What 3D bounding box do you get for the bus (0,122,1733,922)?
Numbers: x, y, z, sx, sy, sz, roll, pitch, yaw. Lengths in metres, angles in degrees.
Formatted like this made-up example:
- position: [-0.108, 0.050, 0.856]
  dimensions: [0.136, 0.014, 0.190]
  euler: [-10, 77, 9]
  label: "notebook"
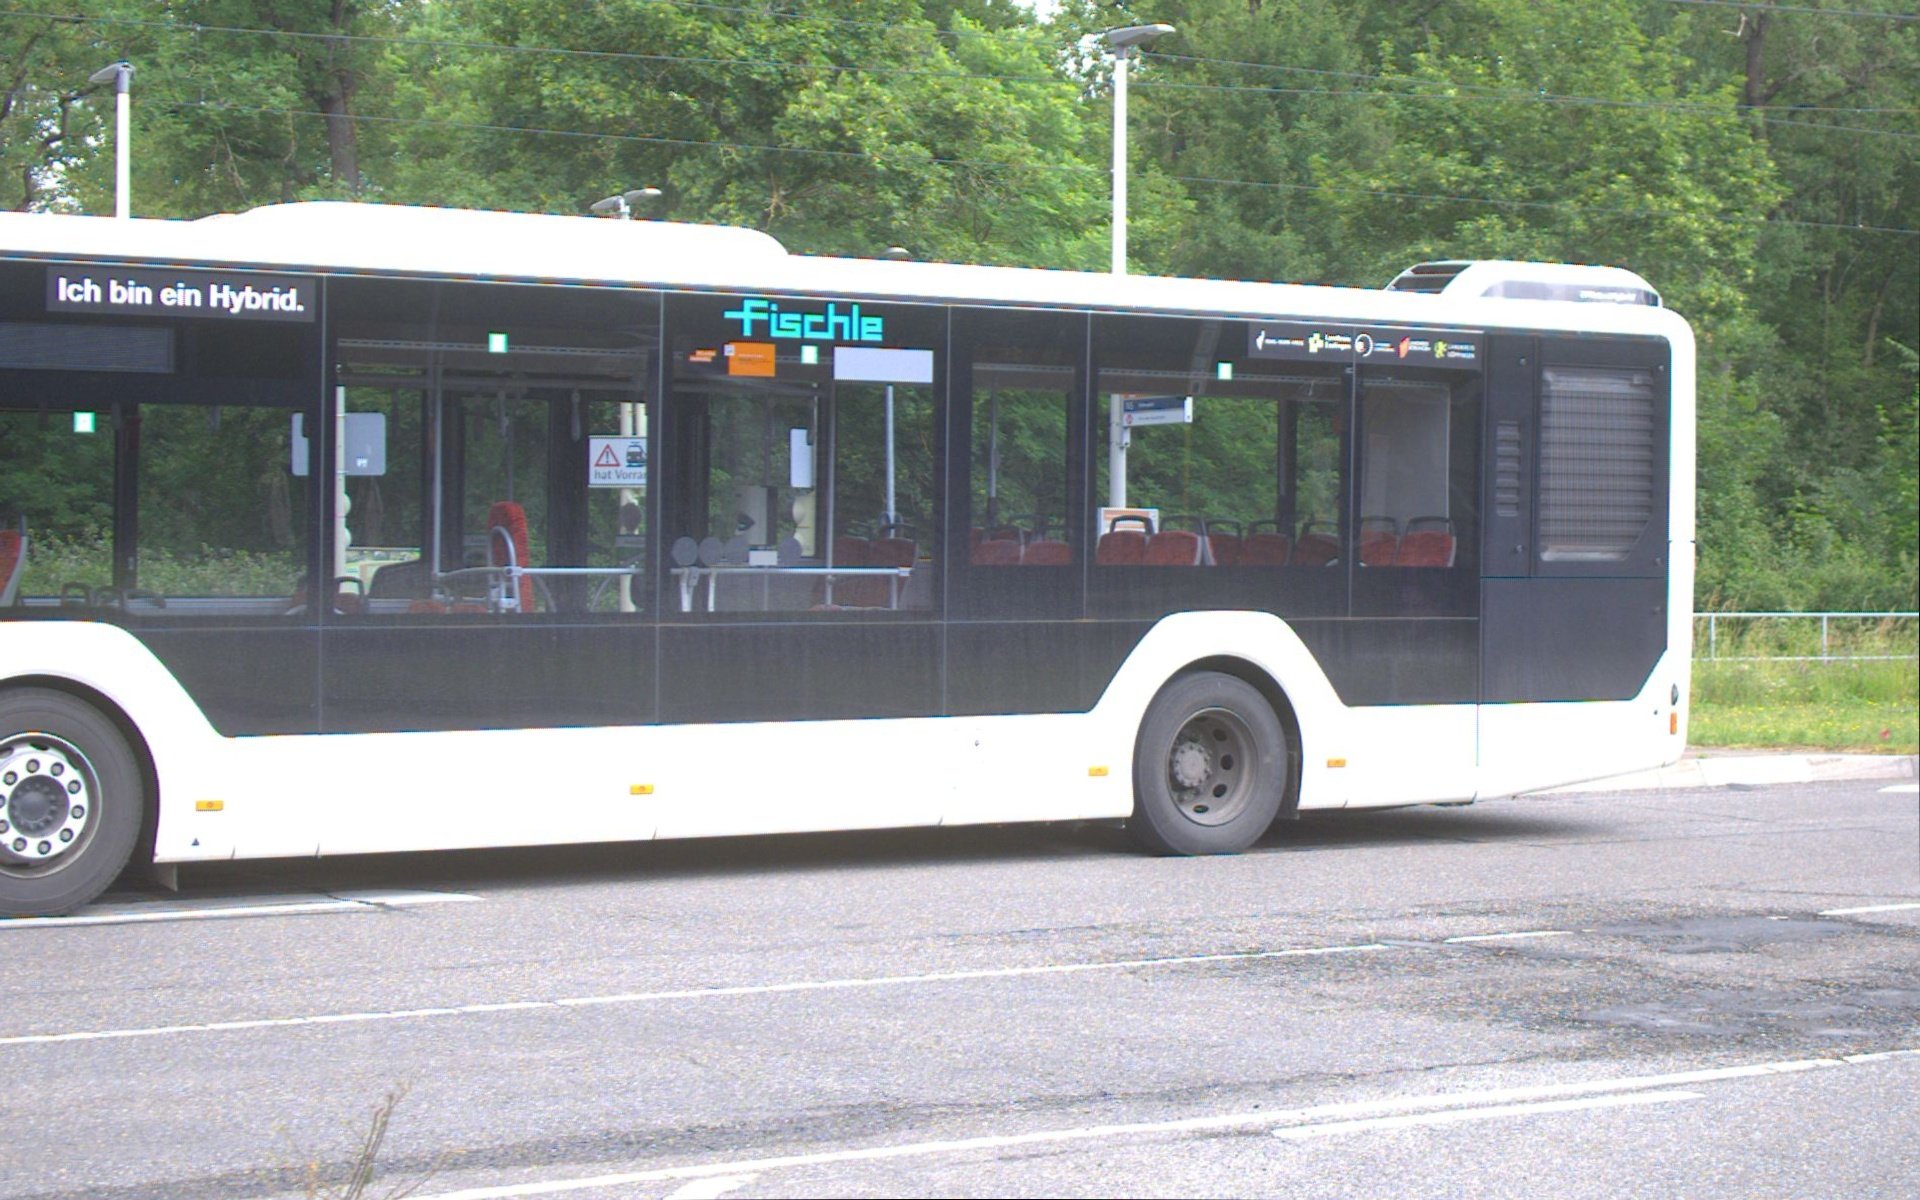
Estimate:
- position: [-1.608, -0.312, 16.718]
  dimensions: [12.160, 3.192, 2.675]
  euler: [0, 0, -32]
  label: "bus"
